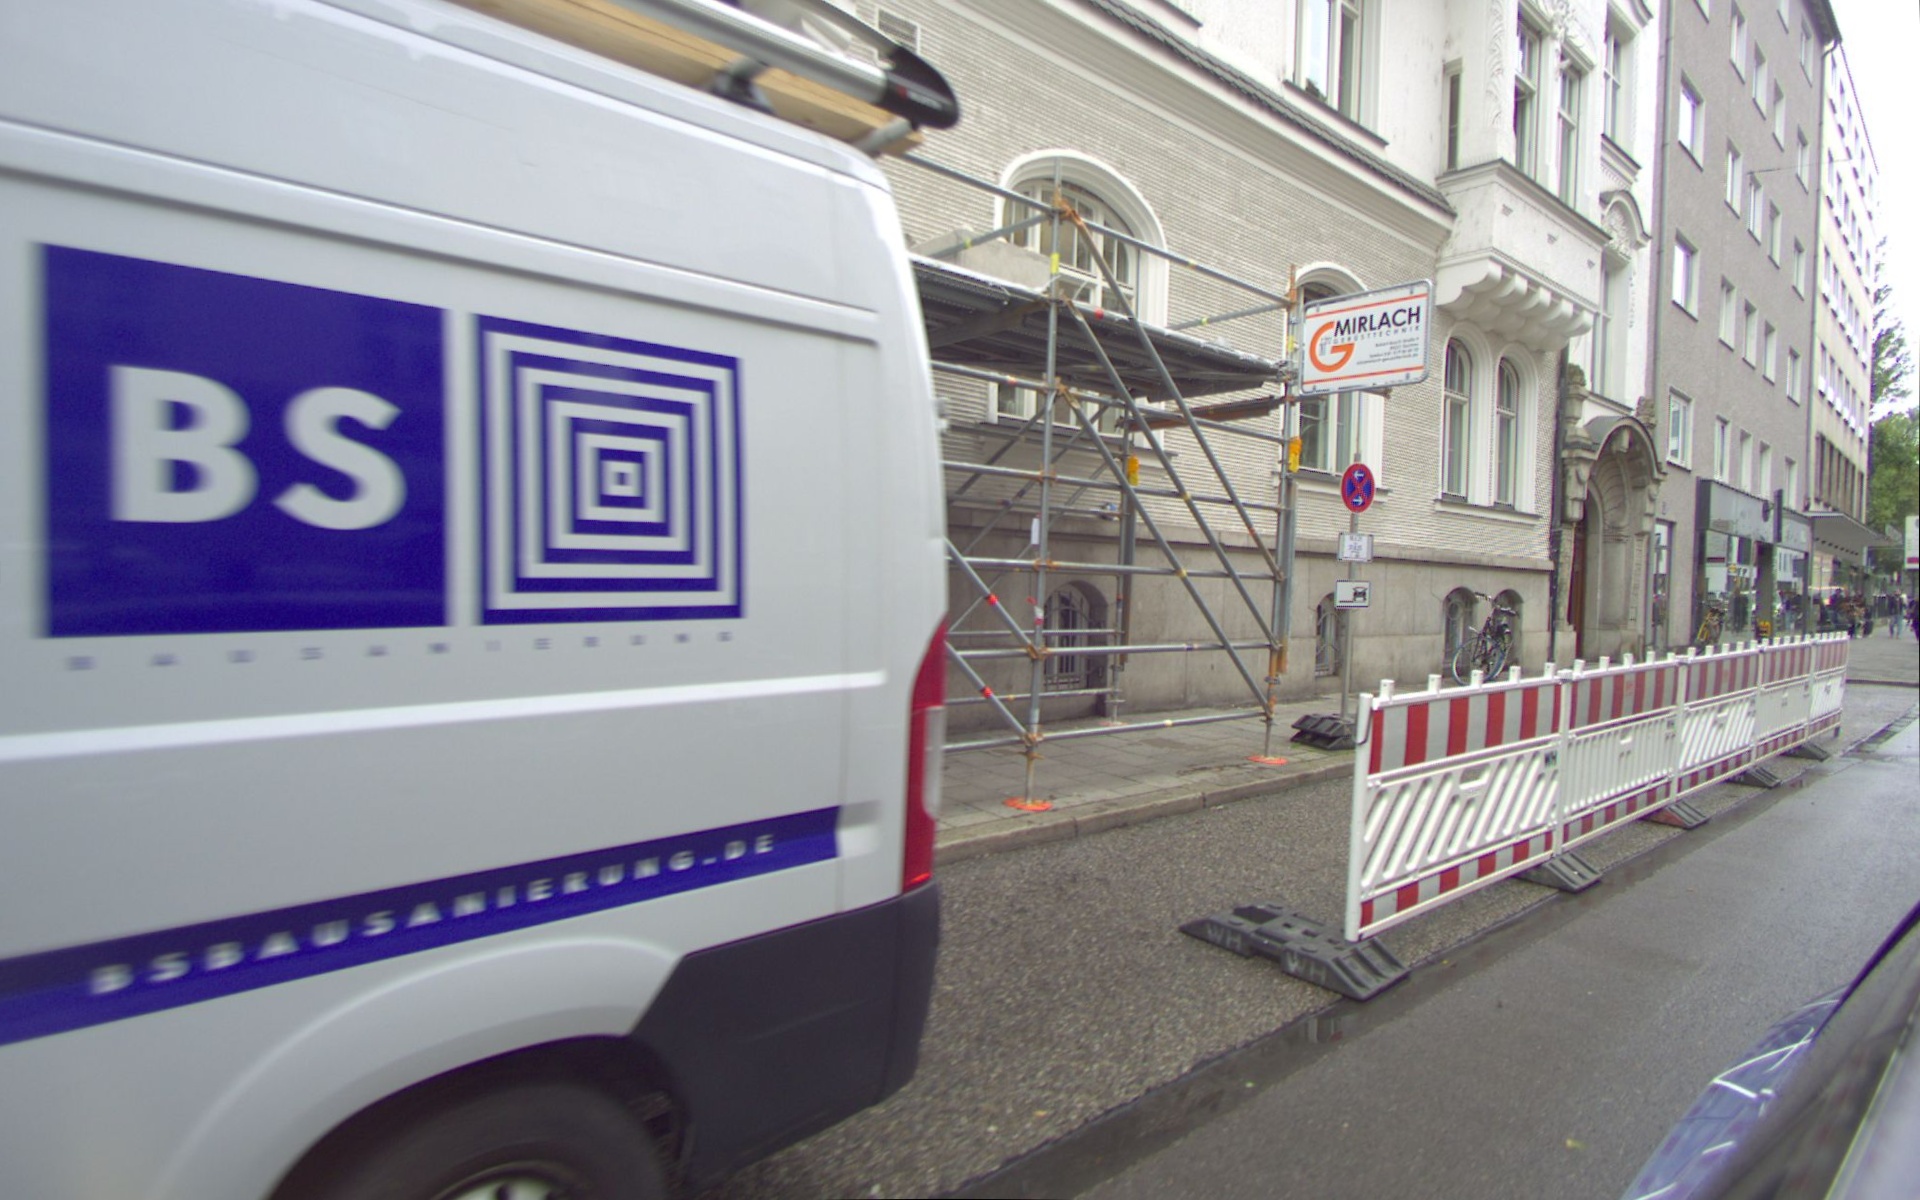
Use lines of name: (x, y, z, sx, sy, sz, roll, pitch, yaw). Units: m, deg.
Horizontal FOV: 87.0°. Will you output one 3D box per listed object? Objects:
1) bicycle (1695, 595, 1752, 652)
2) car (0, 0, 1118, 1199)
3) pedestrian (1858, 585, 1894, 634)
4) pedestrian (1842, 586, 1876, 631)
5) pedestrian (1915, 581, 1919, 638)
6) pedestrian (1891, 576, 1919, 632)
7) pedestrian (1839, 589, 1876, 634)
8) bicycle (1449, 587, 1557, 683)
bicycle: (16.123, 0.480, 21.366, 1.814, 1.131, 0.592, 0, 2, -42)
car: (-2.396, -0.009, 1.299, 5.349, 2.721, 2.082, 0, 3, -41)
pedestrian: (31.156, 0.317, 34.430, 0.835, 1.609, 0.793, 3, 2, 44)
pedestrian: (29.861, 0.268, 33.620, 0.561, 1.465, 0.747, 0, 2, -41)
pedestrian: (30.033, 0.304, 31.222, 0.605, 1.737, 0.745, 0, 2, -42)
pedestrian: (32.706, 0.123, 34.878, 0.807, 1.883, 0.825, 0, 1, -43)
pedestrian: (29.029, 0.361, 32.734, 0.835, 1.424, 0.852, 3, 2, 44)
bicycle: (7.260, 0.438, 13.504, 1.624, 1.186, 0.684, 0, 2, -40)
